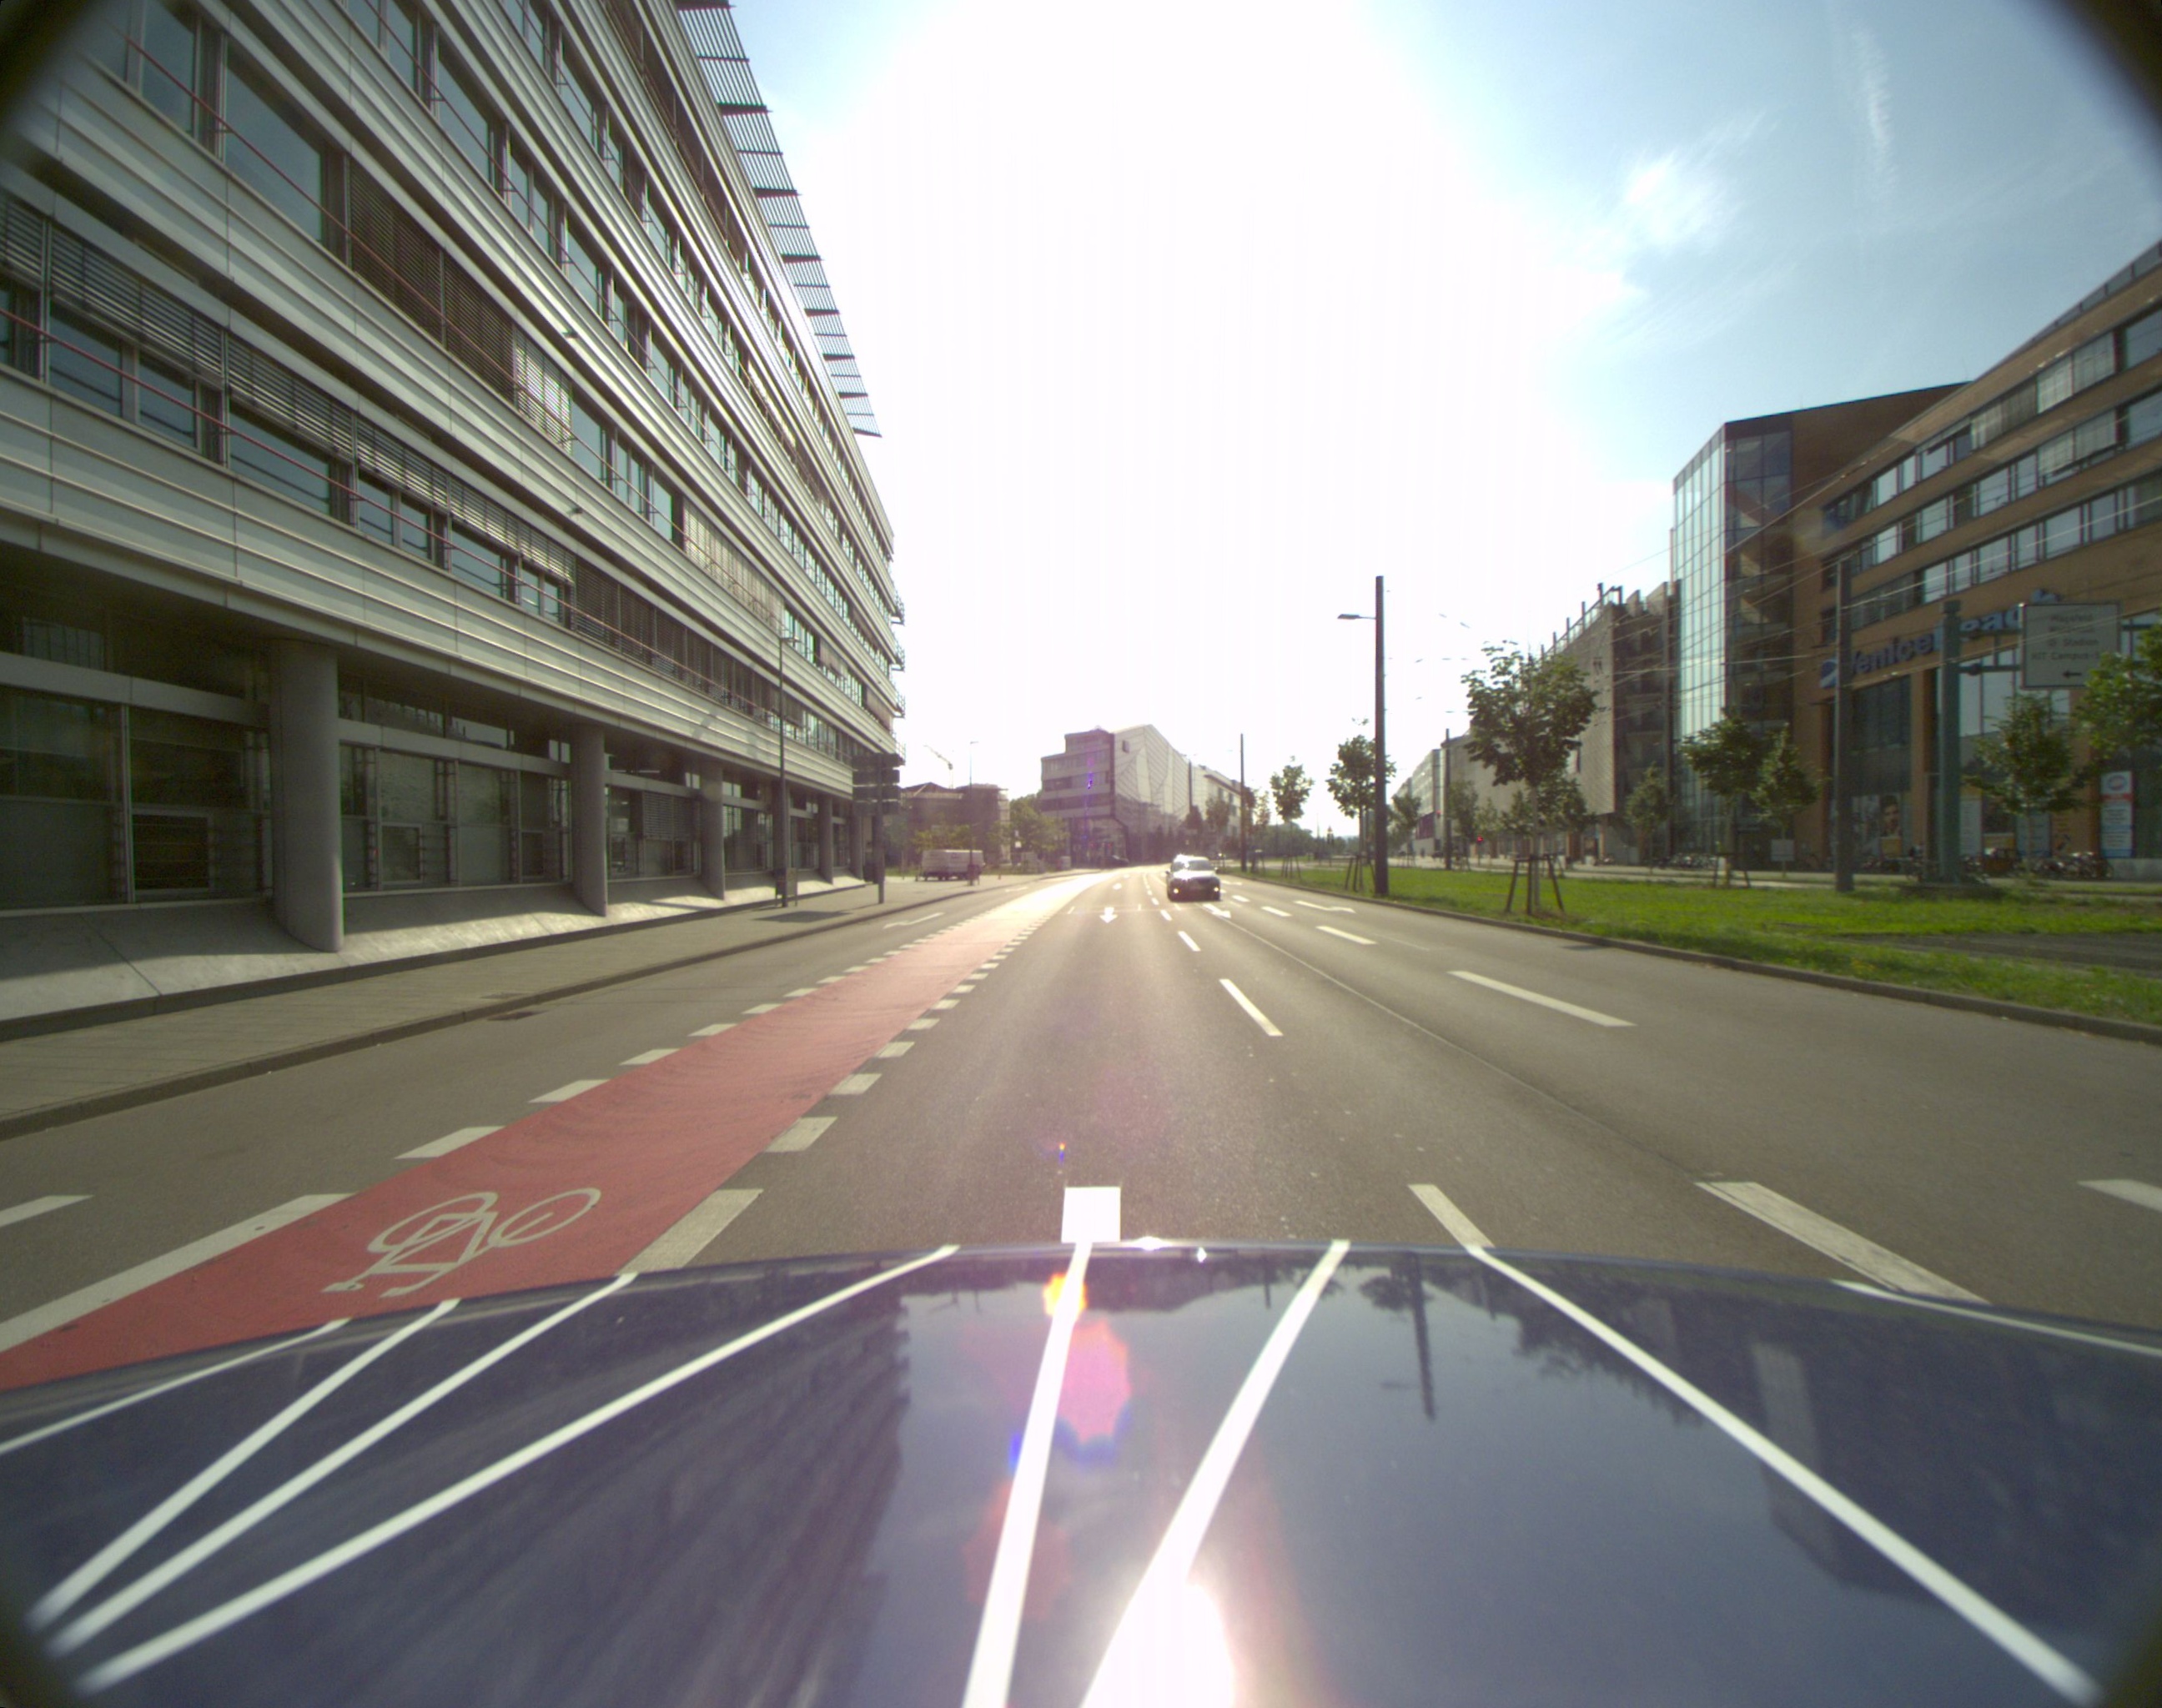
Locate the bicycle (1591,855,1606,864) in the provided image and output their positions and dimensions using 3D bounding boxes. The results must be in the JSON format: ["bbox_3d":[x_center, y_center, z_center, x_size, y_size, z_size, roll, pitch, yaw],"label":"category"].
[{"bbox_3d":[45.252,0.494,66.485,1.004,0.747,0.453,-1,0,20],"label":"bicycle"}]

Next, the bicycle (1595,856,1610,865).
[{"bbox_3d":[44.852,0.556,65.362,1.022,0.747,0.361,-1,1,20],"label":"bicycle"}]

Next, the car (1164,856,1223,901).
[{"bbox_3d":[3.876,0.804,26.779,1.643,1.411,3.895,-1,1,2],"label":"car"}]

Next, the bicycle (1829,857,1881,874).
[{"bbox_3d":[43.182,0.621,42.388,2.051,0.916,0.574,-1,1,13],"label":"bicycle"}]

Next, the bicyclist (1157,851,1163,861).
[{"bbox_3d":[13.497,0.368,129.760,0.781,1.577,0.933,0,2,25],"label":"bicyclist"}]

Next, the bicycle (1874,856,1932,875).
[{"bbox_3d":[42.617,0.598,39.402,2.051,0.916,0.574,-1,1,13],"label":"bicycle"}]

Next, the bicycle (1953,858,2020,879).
[{"bbox_3d":[41.803,0.662,35.103,2.051,0.916,0.574,-1,1,13],"label":"bicycle"}]

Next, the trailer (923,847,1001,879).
[{"bbox_3d":[-8.522,0.595,55.031,2.390,2.138,5.960,0,0,29],"label":"trailer"}]

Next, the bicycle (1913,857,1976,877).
[{"bbox_3d":[41.822,0.643,36.825,2.051,0.916,0.574,-1,1,13],"label":"bicycle"}]

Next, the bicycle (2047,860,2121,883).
[{"bbox_3d":[40.897,0.711,30.987,2.051,0.916,0.381,-1,1,13],"label":"bicycle"}]

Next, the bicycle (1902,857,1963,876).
[{"bbox_3d":[42.228,0.633,37.685,2.051,0.916,0.574,-1,1,13],"label":"bicycle"}]

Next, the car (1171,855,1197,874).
[{"bbox_3d":[7.628,0.763,56.596,1.587,1.335,3.165,-1,0,2],"label":"car"}]

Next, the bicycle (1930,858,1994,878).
[{"bbox_3d":[41.760,0.649,36.044,2.051,0.916,0.574,-1,1,13],"label":"bicycle"}]

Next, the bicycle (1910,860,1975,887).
[{"bbox_3d":[34.531,0.778,30.460,1.679,0.902,0.710,-4,1,3],"label":"bicycle"}]

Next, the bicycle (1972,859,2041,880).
[{"bbox_3d":[41.653,0.683,34.214,2.051,0.916,0.574,-1,1,13],"label":"bicycle"}]

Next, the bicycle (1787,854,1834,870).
[{"bbox_3d":[44.084,0.484,45.953,2.051,0.916,0.574,-1,1,13],"label":"bicycle"}]

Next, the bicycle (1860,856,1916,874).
[{"bbox_3d":[42.754,0.568,40.265,2.051,0.916,0.574,-1,1,13],"label":"bicycle"}]

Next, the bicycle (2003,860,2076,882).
[{"bbox_3d":[41.123,0.723,32.619,2.051,0.916,0.574,-1,1,13],"label":"bicycle"}]

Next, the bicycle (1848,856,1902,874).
[{"bbox_3d":[42.927,0.594,41.102,2.051,0.916,0.574,-1,1,13],"label":"bicycle"}]

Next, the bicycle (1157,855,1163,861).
[{"bbox_3d":[13.482,0.688,129.795,0.418,1.050,1.962,0,2,25],"label":"bicycle"}]

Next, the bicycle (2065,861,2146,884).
[{"bbox_3d":[40.770,0.735,30.260,2.051,0.916,0.574,-1,1,13],"label":"bicycle"}]

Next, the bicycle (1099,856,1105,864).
[{"bbox_3d":[2.967,0.812,108.748,0.669,1.092,1.805,0,2,8],"label":"bicycle"}]

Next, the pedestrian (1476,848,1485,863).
[{"bbox_3d":[42.892,0.153,81.509,0.762,1.570,0.590,0,1,14],"label":"pedestrian"}]

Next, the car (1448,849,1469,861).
[{"bbox_3d":[39.881,0.093,80.302,1.367,1.199,2.640,0,2,13],"label":"car"}]
